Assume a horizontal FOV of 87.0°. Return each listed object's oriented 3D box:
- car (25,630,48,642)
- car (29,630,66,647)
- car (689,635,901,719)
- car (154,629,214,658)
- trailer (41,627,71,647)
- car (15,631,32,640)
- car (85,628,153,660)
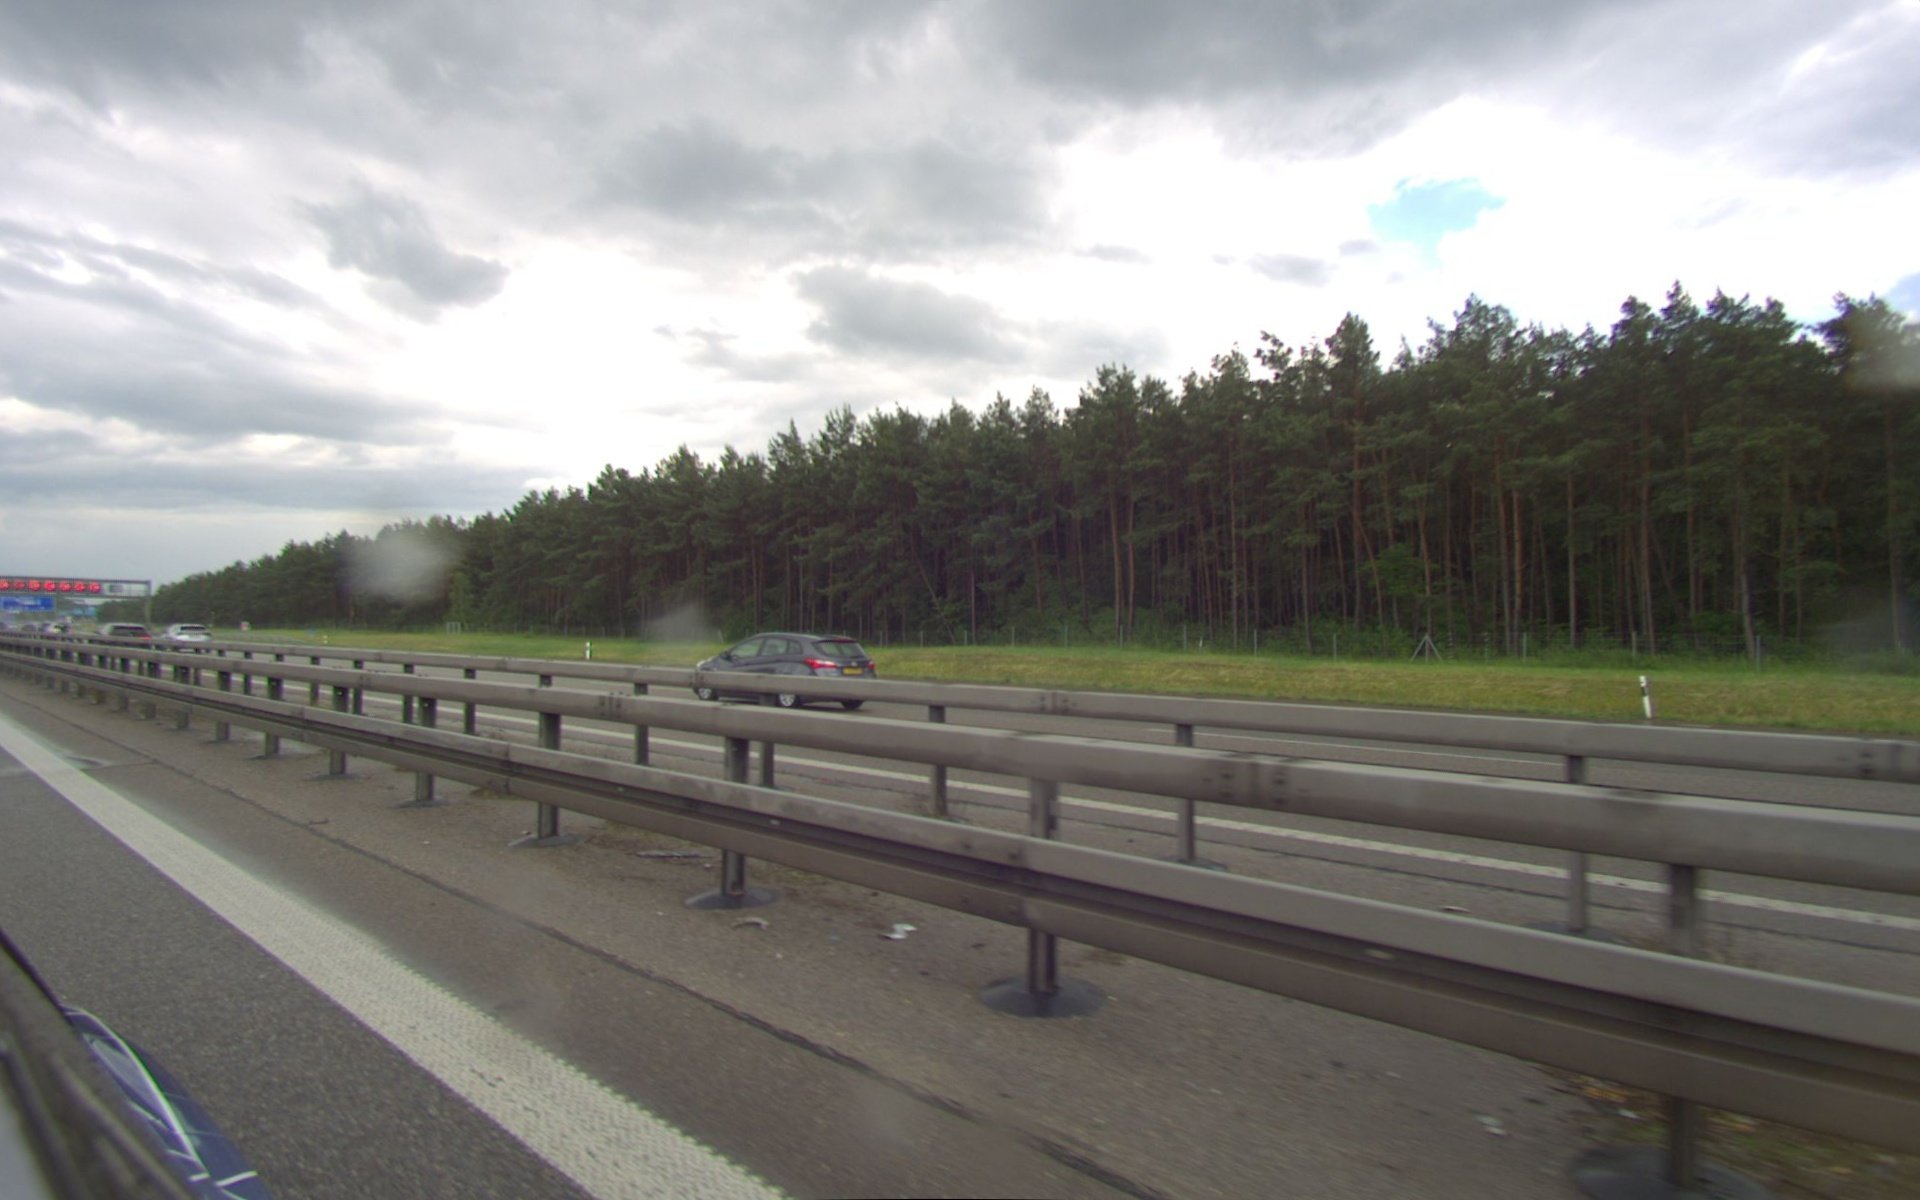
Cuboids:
[{"bbox_3d":[-127.431,4.923,139.675,4.512,1.559,1.879,-1,-4,42],"label":"car"},{"bbox_3d":[-83.599,3.503,92.707,4.569,1.431,1.810,-1,-4,40],"label":"car"},{"bbox_3d":[-3.303,1.449,19.843,4.234,1.433,1.792,-1,-4,41],"label":"car"},{"bbox_3d":[-41.310,2.288,53.843,3.997,1.492,1.710,-1,-3,40],"label":"car"},{"bbox_3d":[-80.587,3.317,90.223,3.206,1.685,1.465,-1,-4,40],"label":"trailer"},{"bbox_3d":[-157.672,5.918,170.372,4.183,1.406,1.705,-1,-4,43],"label":"car"},{"bbox_3d":[-38.693,1.997,46.532,4.089,1.399,1.710,-1,-4,40],"label":"car"}]
